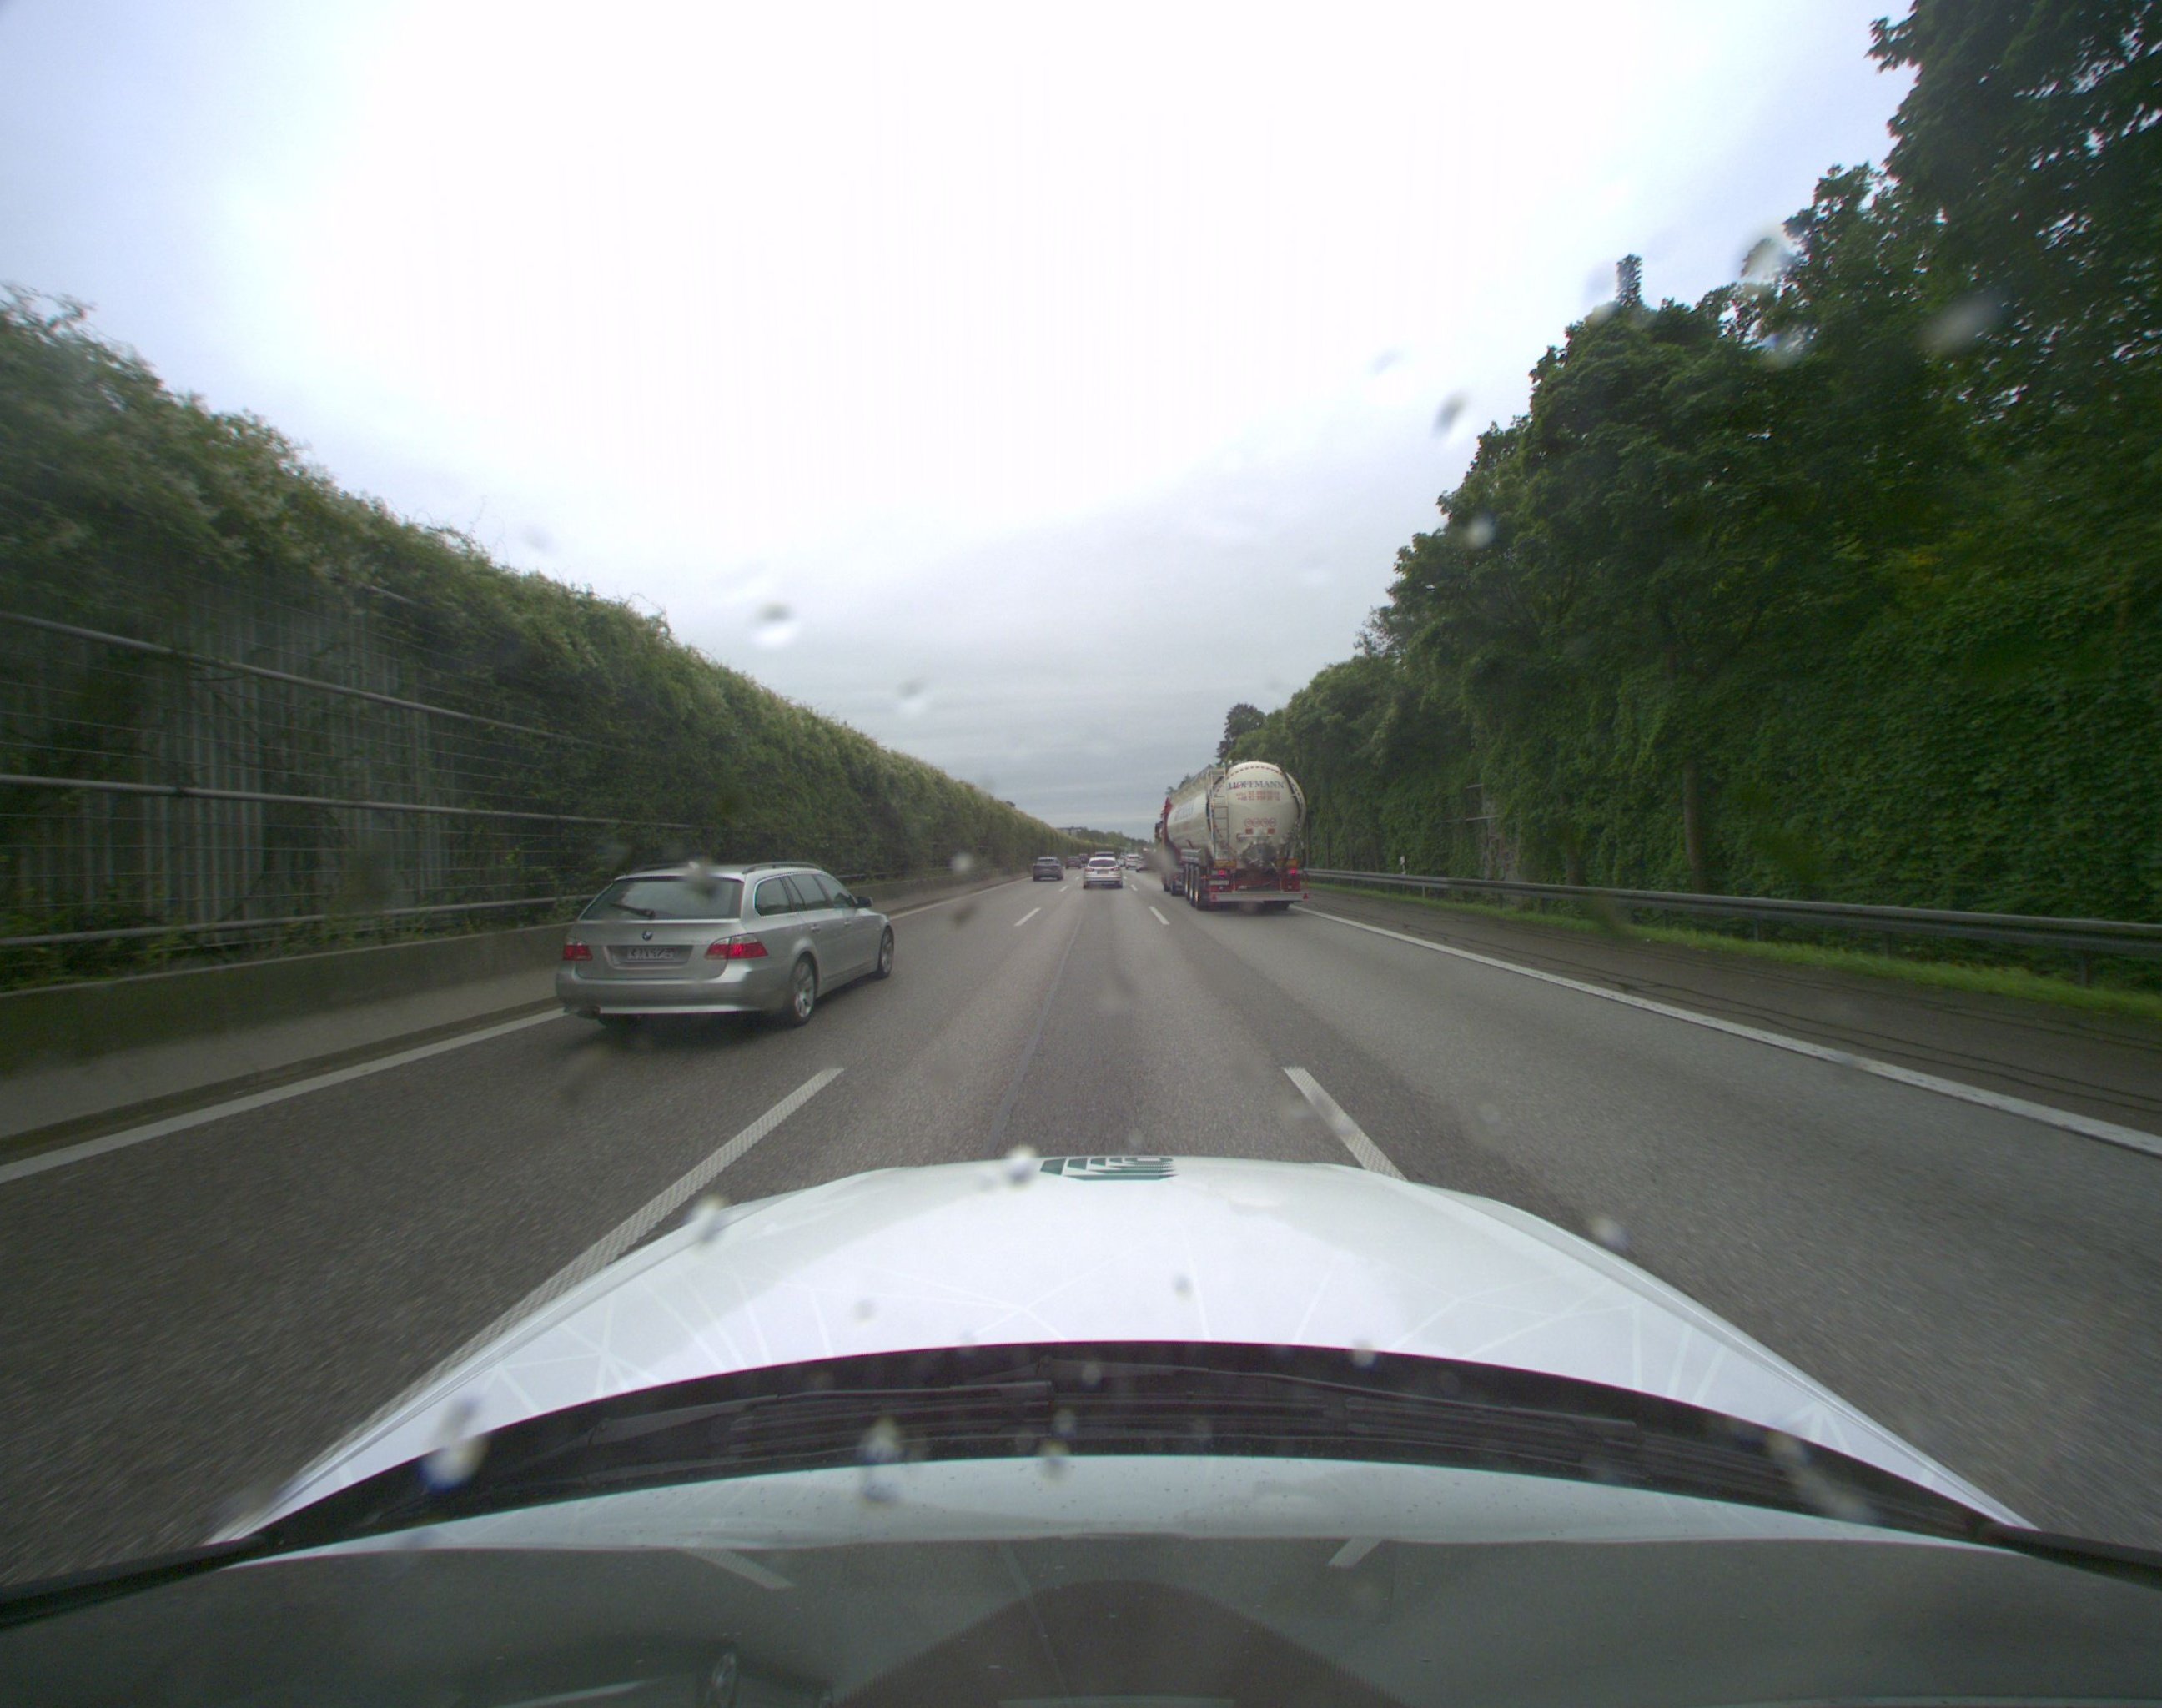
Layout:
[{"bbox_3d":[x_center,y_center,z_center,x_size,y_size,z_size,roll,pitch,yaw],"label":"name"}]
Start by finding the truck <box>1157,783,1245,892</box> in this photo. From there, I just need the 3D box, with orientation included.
[{"bbox_3d":[4.634,-0.553,32.651,2.685,3.912,6.558,0,-1,1],"label":"truck"}]

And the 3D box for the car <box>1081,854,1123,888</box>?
[{"bbox_3d":[0.981,0.789,39.190,1.885,1.504,5.031,0,0,1],"label":"car"}]

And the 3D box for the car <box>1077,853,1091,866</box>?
[{"bbox_3d":[0.516,0.830,125.368,1.986,2.013,4.002,-1,0,2],"label":"car"}]

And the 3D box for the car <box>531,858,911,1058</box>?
[{"bbox_3d":[-3.292,0.815,8.770,1.713,1.469,5.032,0,0,2],"label":"car"}]

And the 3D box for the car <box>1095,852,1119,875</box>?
[{"bbox_3d":[1.966,0.671,60.984,1.682,1.506,3.874,3,1,2],"label":"car"}]

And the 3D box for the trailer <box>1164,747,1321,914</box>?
[{"bbox_3d":[4.491,-0.507,25.904,2.658,3.939,13.132,-1,-1,1],"label":"trailer"}]

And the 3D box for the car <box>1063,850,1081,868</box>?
[{"bbox_3d":[-1.050,0.566,95.760,1.986,2.013,3.843,-1,0,2],"label":"car"}]

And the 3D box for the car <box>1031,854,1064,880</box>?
[{"bbox_3d":[-2.100,0.792,51.937,1.713,1.512,5.032,0,0,2],"label":"car"}]

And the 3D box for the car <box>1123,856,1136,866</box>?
[{"bbox_3d":[6.699,0.914,111.932,1.682,1.331,3.873,0,-1,2],"label":"car"}]

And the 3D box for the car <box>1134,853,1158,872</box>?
[{"bbox_3d":[5.764,0.742,72.446,1.810,1.625,5.030,0,0,1],"label":"car"}]

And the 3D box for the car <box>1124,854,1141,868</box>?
[{"bbox_3d":[5.505,0.732,87.760,1.683,1.506,3.872,0,-1,1],"label":"car"}]
